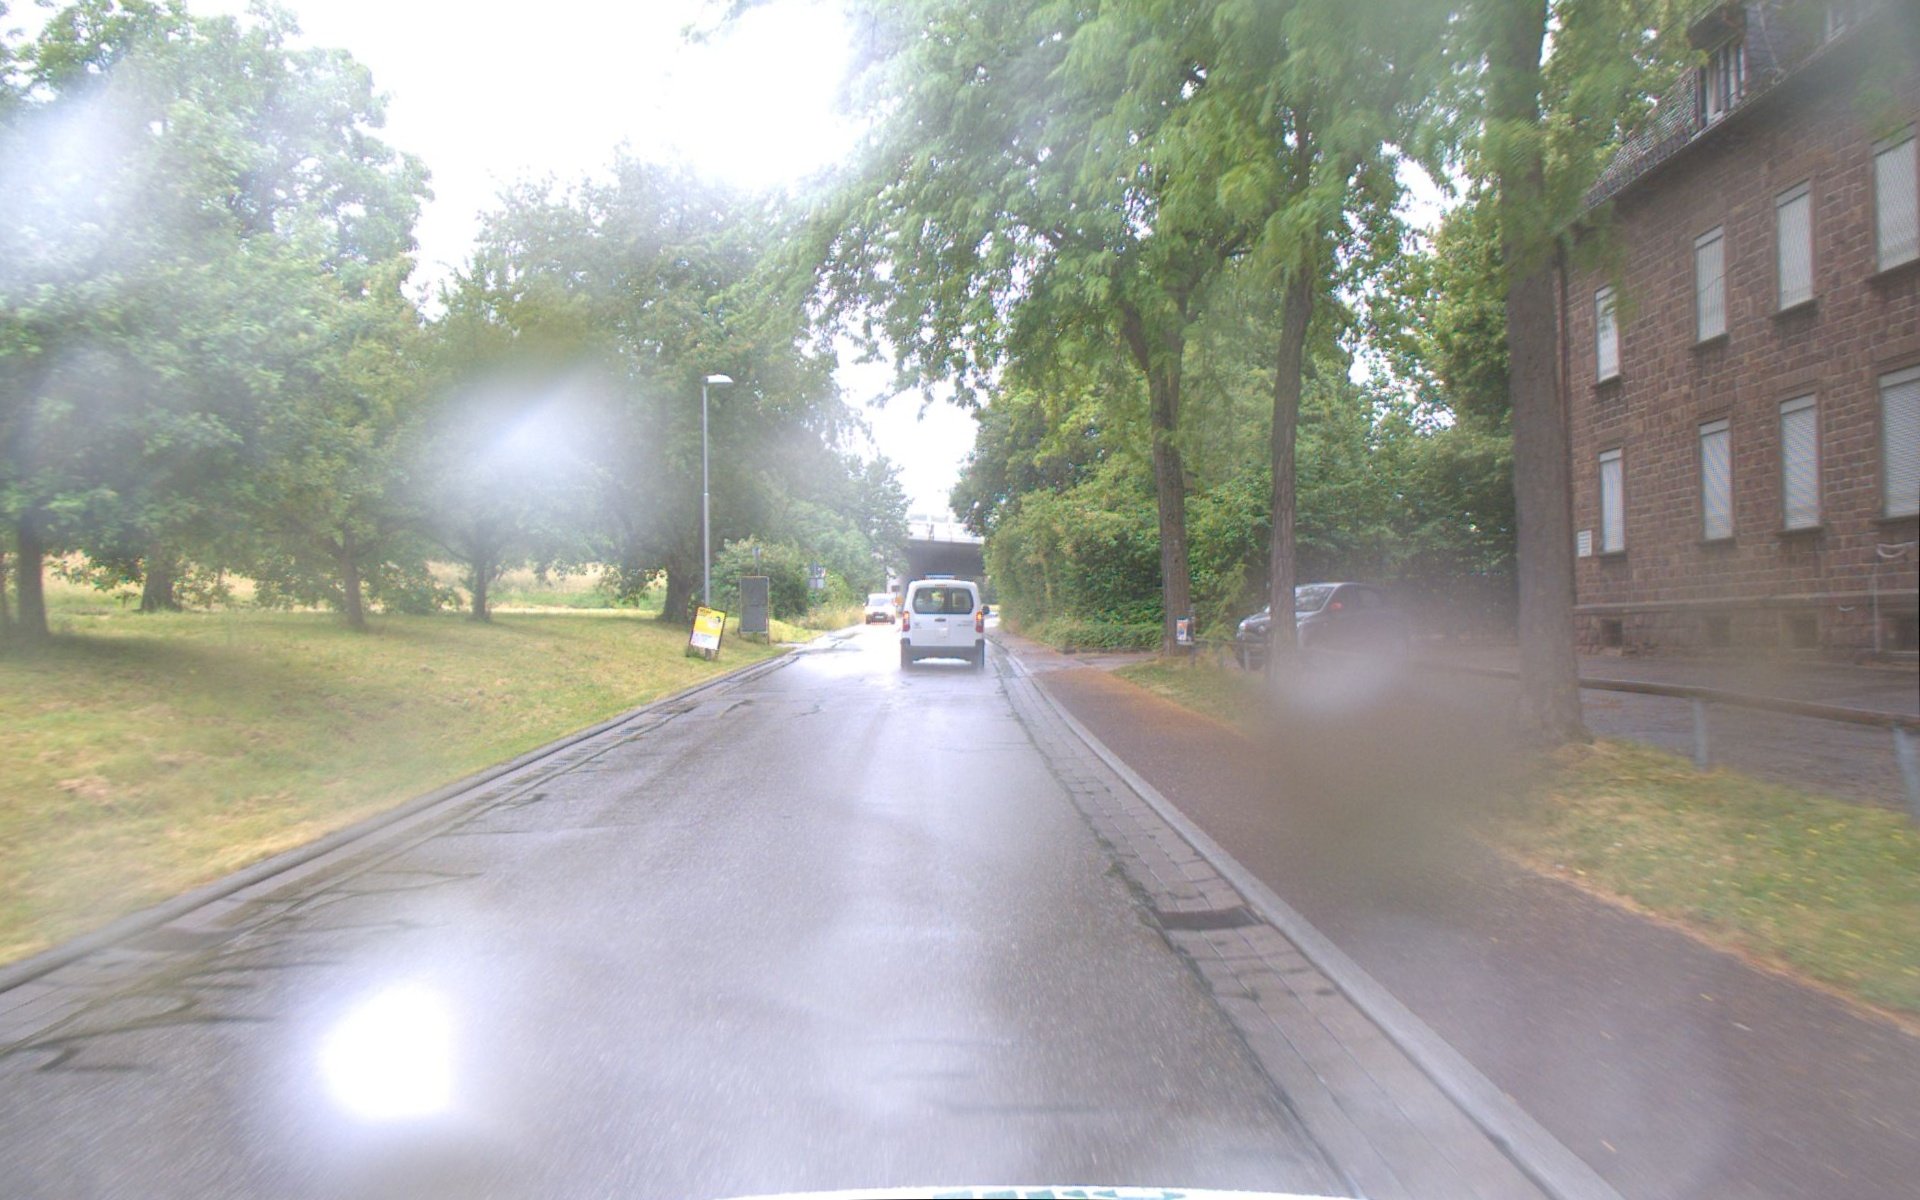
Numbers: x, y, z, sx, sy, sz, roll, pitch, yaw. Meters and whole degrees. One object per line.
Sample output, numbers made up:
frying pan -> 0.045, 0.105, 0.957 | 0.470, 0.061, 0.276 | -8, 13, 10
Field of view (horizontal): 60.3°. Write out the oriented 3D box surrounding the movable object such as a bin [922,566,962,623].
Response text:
movable object such as a bin -> -0.821, -0.248, 77.882 | 1.725, 2.592, 4.240 | 1, 0, 2

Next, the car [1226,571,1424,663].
car -> 6.667, 0.288, 30.122 | 3.575, 1.578, 1.600 | -1, -1, -37

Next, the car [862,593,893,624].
car -> -4.980, 0.505, 100.032 | 1.787, 1.864, 4.305 | 0, 0, -2

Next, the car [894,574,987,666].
car -> -0.397, 0.390, 35.643 | 1.858, 1.838, 4.000 | -1, 1, 0
